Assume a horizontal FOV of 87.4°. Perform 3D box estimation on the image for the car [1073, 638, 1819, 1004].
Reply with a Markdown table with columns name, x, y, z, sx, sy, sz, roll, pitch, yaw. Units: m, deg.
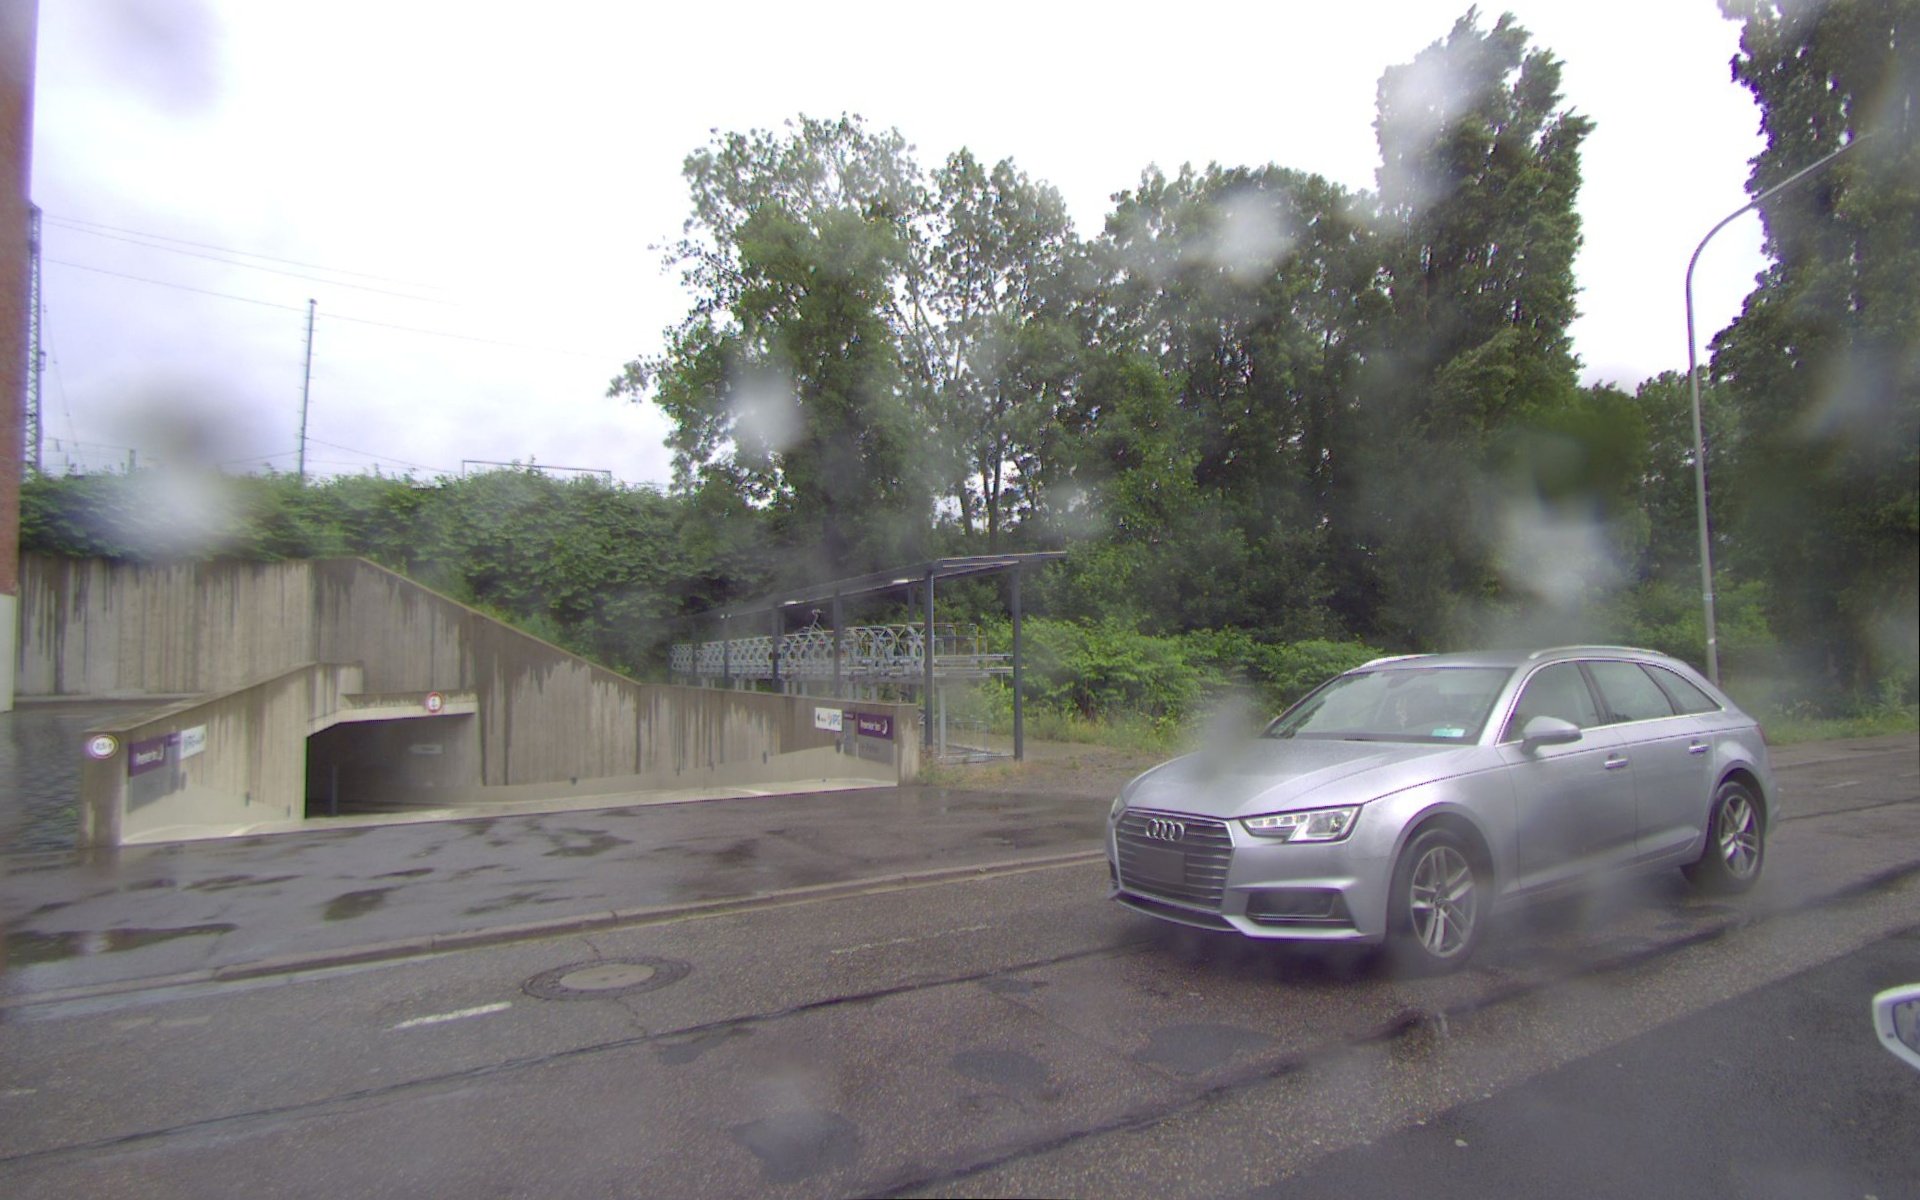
| name | x | y | z | sx | sy | sz | roll | pitch | yaw |
| --- | --- | --- | --- | --- | --- | --- | --- | --- | --- |
| car | 2.958 | 1.027 | 5.931 | 4.327 | 1.468 | 1.727 | 1 | -6 | -29 |

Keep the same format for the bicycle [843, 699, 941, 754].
| name | x | y | z | sx | sy | sz | roll | pitch | yaw |
| --- | --- | --- | --- | --- | --- | --- | --- | --- | --- |
| bicycle | -1.190 | 2.213 | 17.703 | 1.652 | 0.869 | 0.514 | 1 | -5 | -30 |

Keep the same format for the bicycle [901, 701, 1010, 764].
| name | x | y | z | sx | sy | sz | roll | pitch | yaw |
| --- | --- | --- | --- | --- | --- | --- | --- | --- | --- |
| bicycle | -0.058 | 2.040 | 15.633 | 1.652 | 0.869 | 0.514 | 1 | -5 | -30 |

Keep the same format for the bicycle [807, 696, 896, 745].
| name | x | y | z | sx | sy | sz | roll | pitch | yaw |
| --- | --- | --- | --- | --- | --- | --- | --- | --- | --- |
| bicycle | -2.148 | 2.368 | 19.908 | 1.683 | 0.869 | 0.514 | 1 | -5 | -30 |

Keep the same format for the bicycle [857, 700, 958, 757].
| name | x | y | z | sx | sy | sz | roll | pitch | yaw |
| --- | --- | --- | --- | --- | --- | --- | --- | --- | --- |
| bicycle | -0.894 | 2.175 | 17.164 | 1.652 | 0.869 | 0.514 | 1 | -5 | -30 |

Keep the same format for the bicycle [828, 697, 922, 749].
| name | x | y | z | sx | sy | sz | roll | pitch | yaw |
| --- | --- | --- | --- | --- | --- | --- | --- | --- | --- |
| bicycle | -1.581 | 2.283 | 18.775 | 1.683 | 0.869 | 0.514 | 1 | -5 | -30 |

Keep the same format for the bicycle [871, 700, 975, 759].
| name | x | y | z | sx | sy | sz | roll | pitch | yaw |
| --- | --- | --- | --- | --- | --- | --- | --- | --- | --- |
| bicycle | -0.607 | 2.128 | 16.605 | 1.652 | 0.869 | 0.514 | 1 | -5 | -30 |

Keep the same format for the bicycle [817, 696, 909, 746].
| name | x | y | z | sx | sy | sz | roll | pitch | yaw |
| --- | --- | --- | --- | --- | --- | --- | --- | --- | --- |
| bicycle | -1.853 | 2.308 | 19.282 | 1.683 | 0.869 | 0.514 | 1 | -5 | -30 |

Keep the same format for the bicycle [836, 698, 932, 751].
| name | x | y | z | sx | sy | sz | roll | pitch | yaw |
| --- | --- | --- | --- | --- | --- | --- | --- | --- | --- |
| bicycle | -1.371 | 2.246 | 18.238 | 1.683 | 0.869 | 0.514 | 1 | -5 | -30 |

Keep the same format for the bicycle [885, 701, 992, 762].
| name | x | y | z | sx | sy | sz | roll | pitch | yaw |
| --- | --- | --- | --- | --- | --- | --- | --- | --- | --- |
| bicycle | -0.336 | 2.087 | 16.129 | 1.652 | 0.869 | 0.514 | 1 | -5 | -30 |
